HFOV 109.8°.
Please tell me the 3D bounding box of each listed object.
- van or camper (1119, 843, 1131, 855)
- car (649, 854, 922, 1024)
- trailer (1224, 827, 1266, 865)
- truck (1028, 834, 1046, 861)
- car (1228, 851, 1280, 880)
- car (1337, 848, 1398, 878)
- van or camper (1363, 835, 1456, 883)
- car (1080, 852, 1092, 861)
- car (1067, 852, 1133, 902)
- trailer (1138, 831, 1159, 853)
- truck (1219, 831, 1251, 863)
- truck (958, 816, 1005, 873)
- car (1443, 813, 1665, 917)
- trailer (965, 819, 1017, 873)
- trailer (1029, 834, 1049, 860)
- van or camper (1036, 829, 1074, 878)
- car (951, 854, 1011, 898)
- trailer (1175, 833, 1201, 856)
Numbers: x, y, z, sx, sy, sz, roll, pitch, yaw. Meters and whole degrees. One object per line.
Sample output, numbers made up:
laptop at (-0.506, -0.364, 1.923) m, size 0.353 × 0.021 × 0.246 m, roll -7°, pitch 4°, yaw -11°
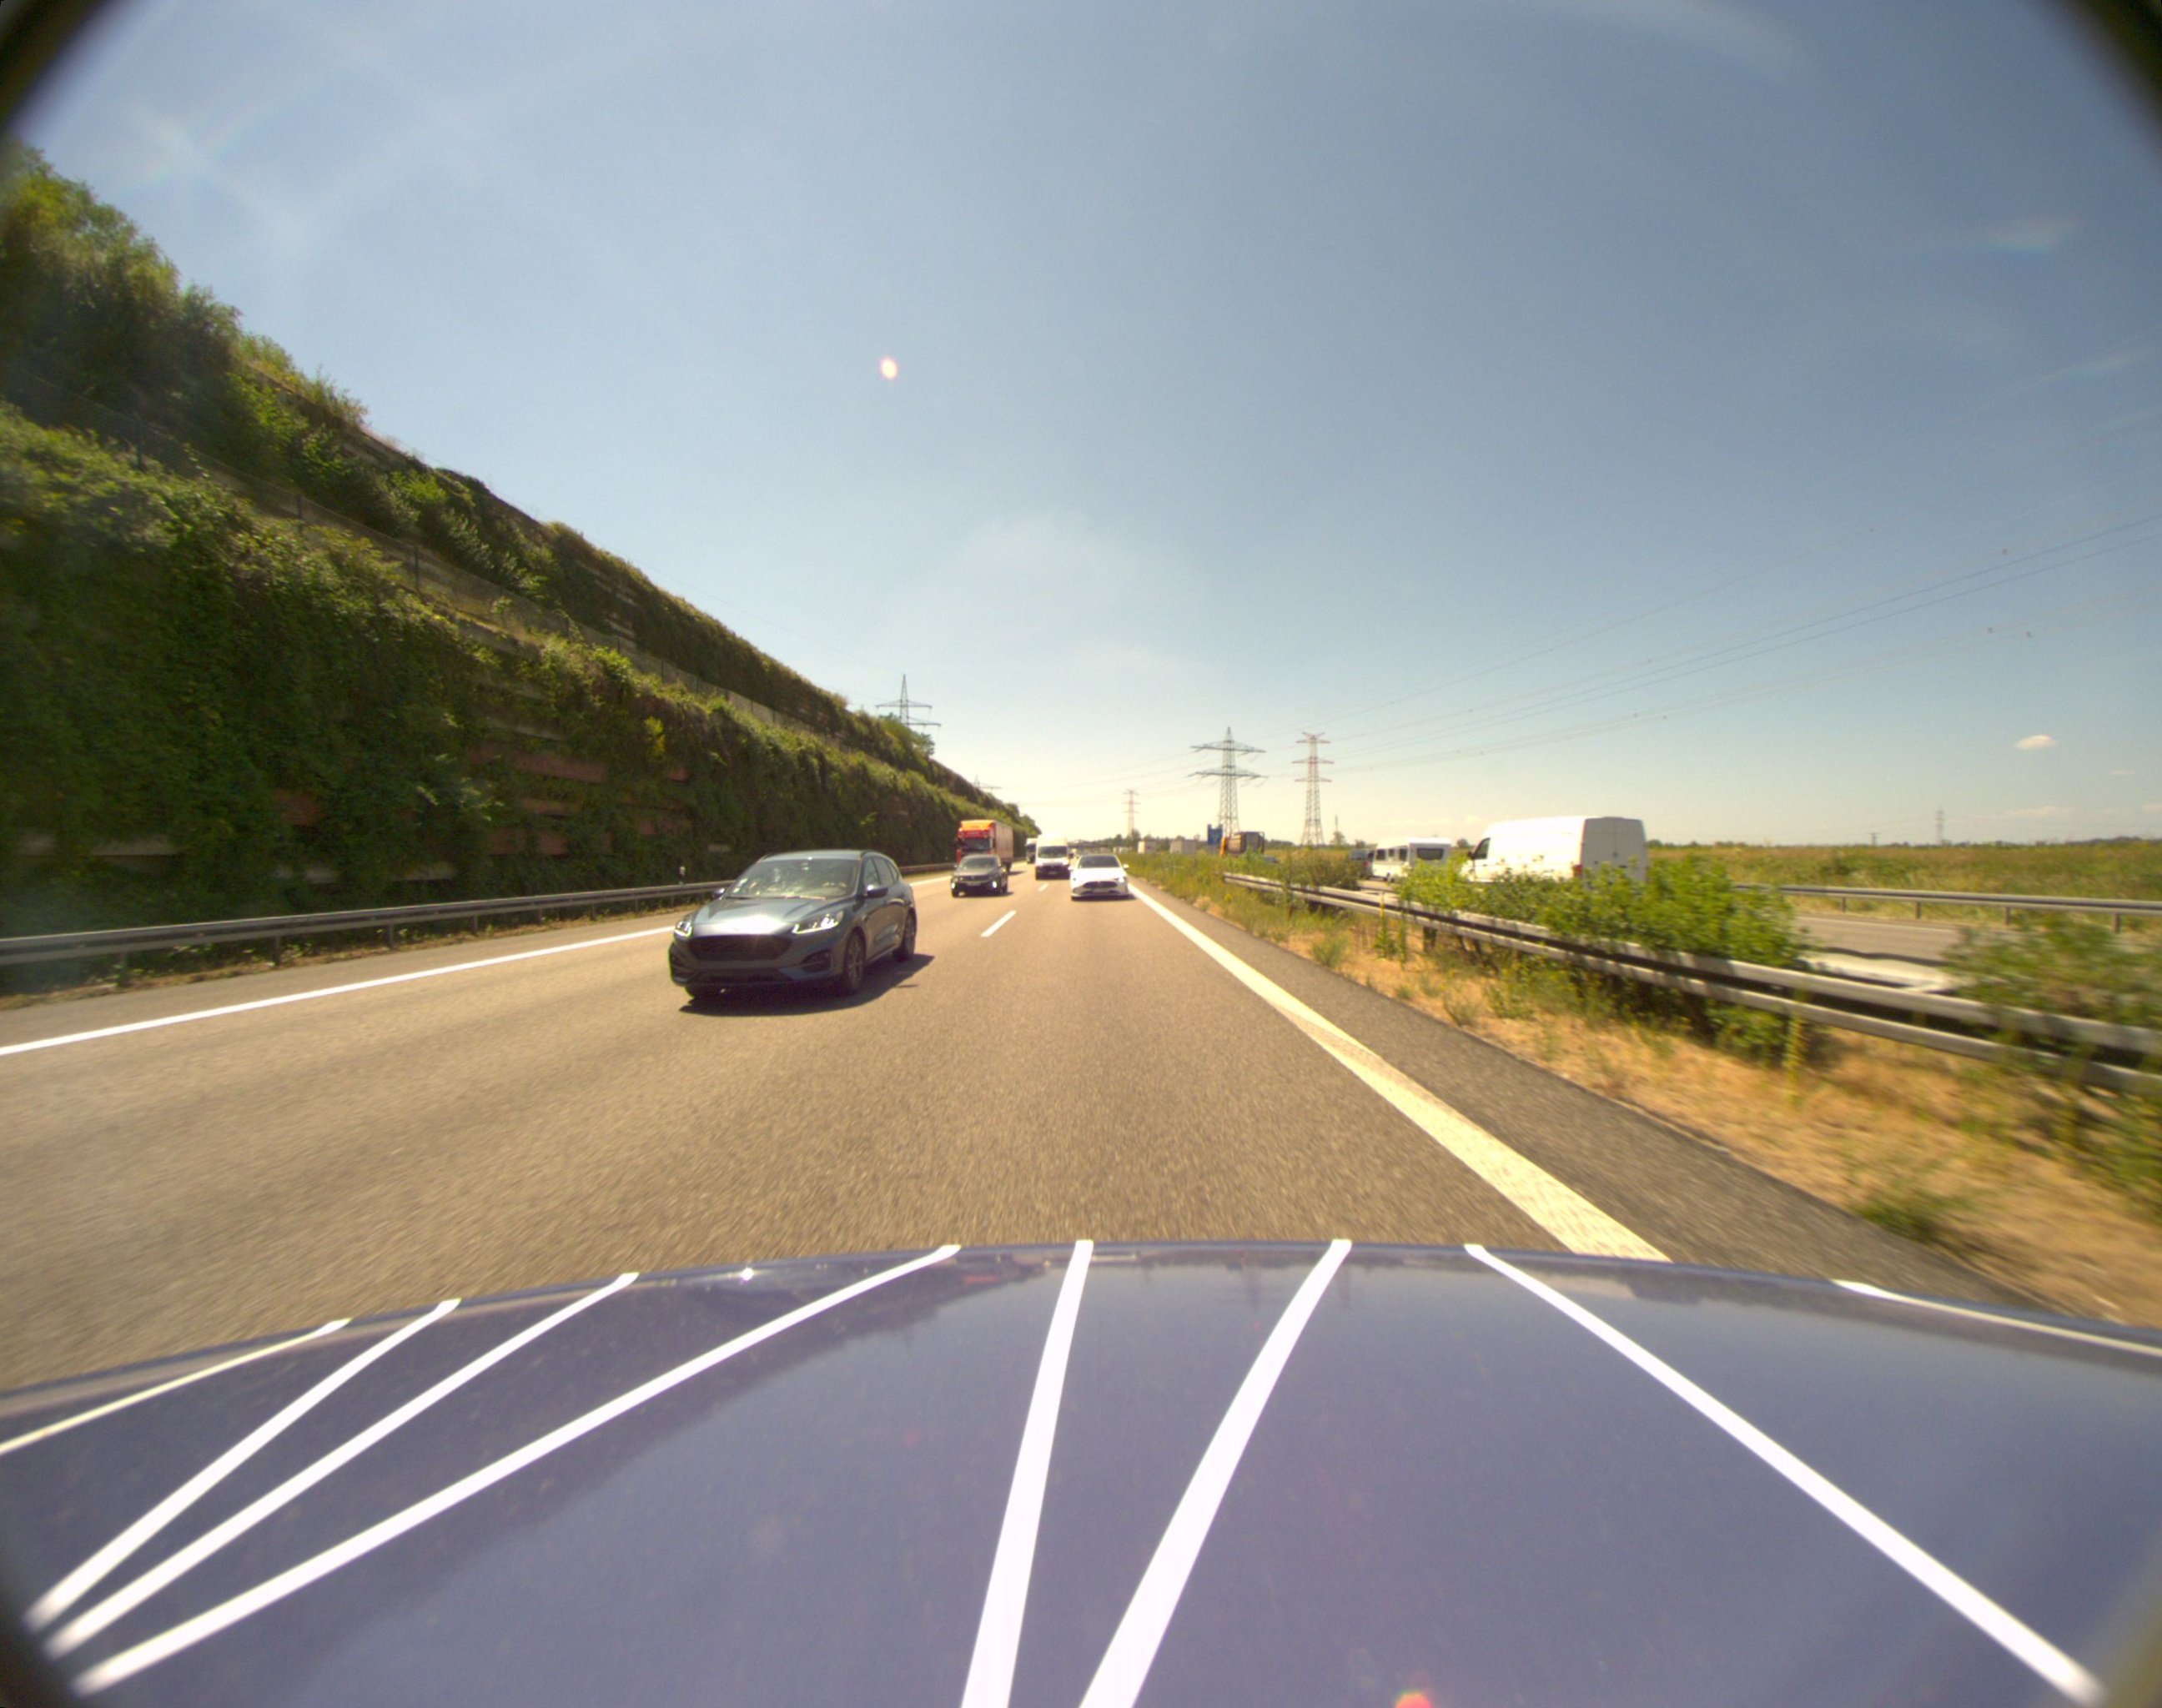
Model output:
van or camper at (10.085, -1.086, 174.158) m, size 1.999 × 2.567 × 6.284 m, roll 4°, pitch 1°, yaw -1°
car at (-3.390, 0.852, 9.674) m, size 1.798 × 1.643 × 4.137 m, roll -1°, pitch 1°, yaw 0°
trailer at (18.310, -0.878, 85.427) m, size 2.743 × 4.022 × 9.423 m, roll 0°, pitch 1°, yaw 0°
truck at (-6.996, -1.075, 121.255) m, size 2.514 × 4.196 × 6.255 m, roll -1°, pitch 1°, yaw 0°
car at (9.604, 0.603, 42.447) m, size 1.802 × 1.503 × 4.441 m, roll 0°, pitch 1°, yaw -1°
car at (18.267, 0.532, 48.689) m, size 2.052 × 1.843 × 4.869 m, roll 0°, pitch 1°, yaw 0°
van or camper at (18.335, 0.244, 42.887) m, size 2.449 × 2.503 × 6.482 m, roll 0°, pitch 1°, yaw 0°
car at (0.782, 0.360, 117.679) m, size 1.784 × 1.475 × 3.999 m, roll 0°, pitch 0°, yaw -2°
car at (0.559, 0.712, 25.390) m, size 1.999 × 1.474 × 4.107 m, roll -1°, pitch 0°, yaw -1°
trailer at (14.023, -2.508, 158.770) m, size 2.776 × 4.324 × 14.237 m, roll -3°, pitch 1°, yaw 0°
truck at (18.284, -0.835, 90.559) m, size 2.732 × 3.706 × 5.645 m, roll 0°, pitch 1°, yaw 0°
truck at (-7.352, -0.696, 56.952) m, size 2.624 × 3.969 × 6.525 m, roll -1°, pitch 1°, yaw 0°
car at (13.852, 0.257, 23.145) m, size 2.110 × 2.616 × 7.466 m, roll 1°, pitch 1°, yaw 1°
trailer at (-7.335, -0.652, 63.976) m, size 2.652 × 3.982 × 13.604 m, roll -1°, pitch 0°, yaw 0°
trailer at (-7.087, -1.110, 129.959) m, size 2.521 × 4.187 × 17.024 m, roll -1°, pitch 0°, yaw -1°
van or camper at (-1.534, -0.034, 46.781) m, size 2.102 × 2.753 × 6.755 m, roll -1°, pitch 0°, yaw -1°
car at (-3.775, 0.786, 29.296) m, size 1.754 × 1.516 × 3.994 m, roll -1°, pitch 1°, yaw 0°
trailer at (18.673, -1.596, 133.514) m, size 2.776 × 3.807 × 14.239 m, roll -1°, pitch 1°, yaw 1°
